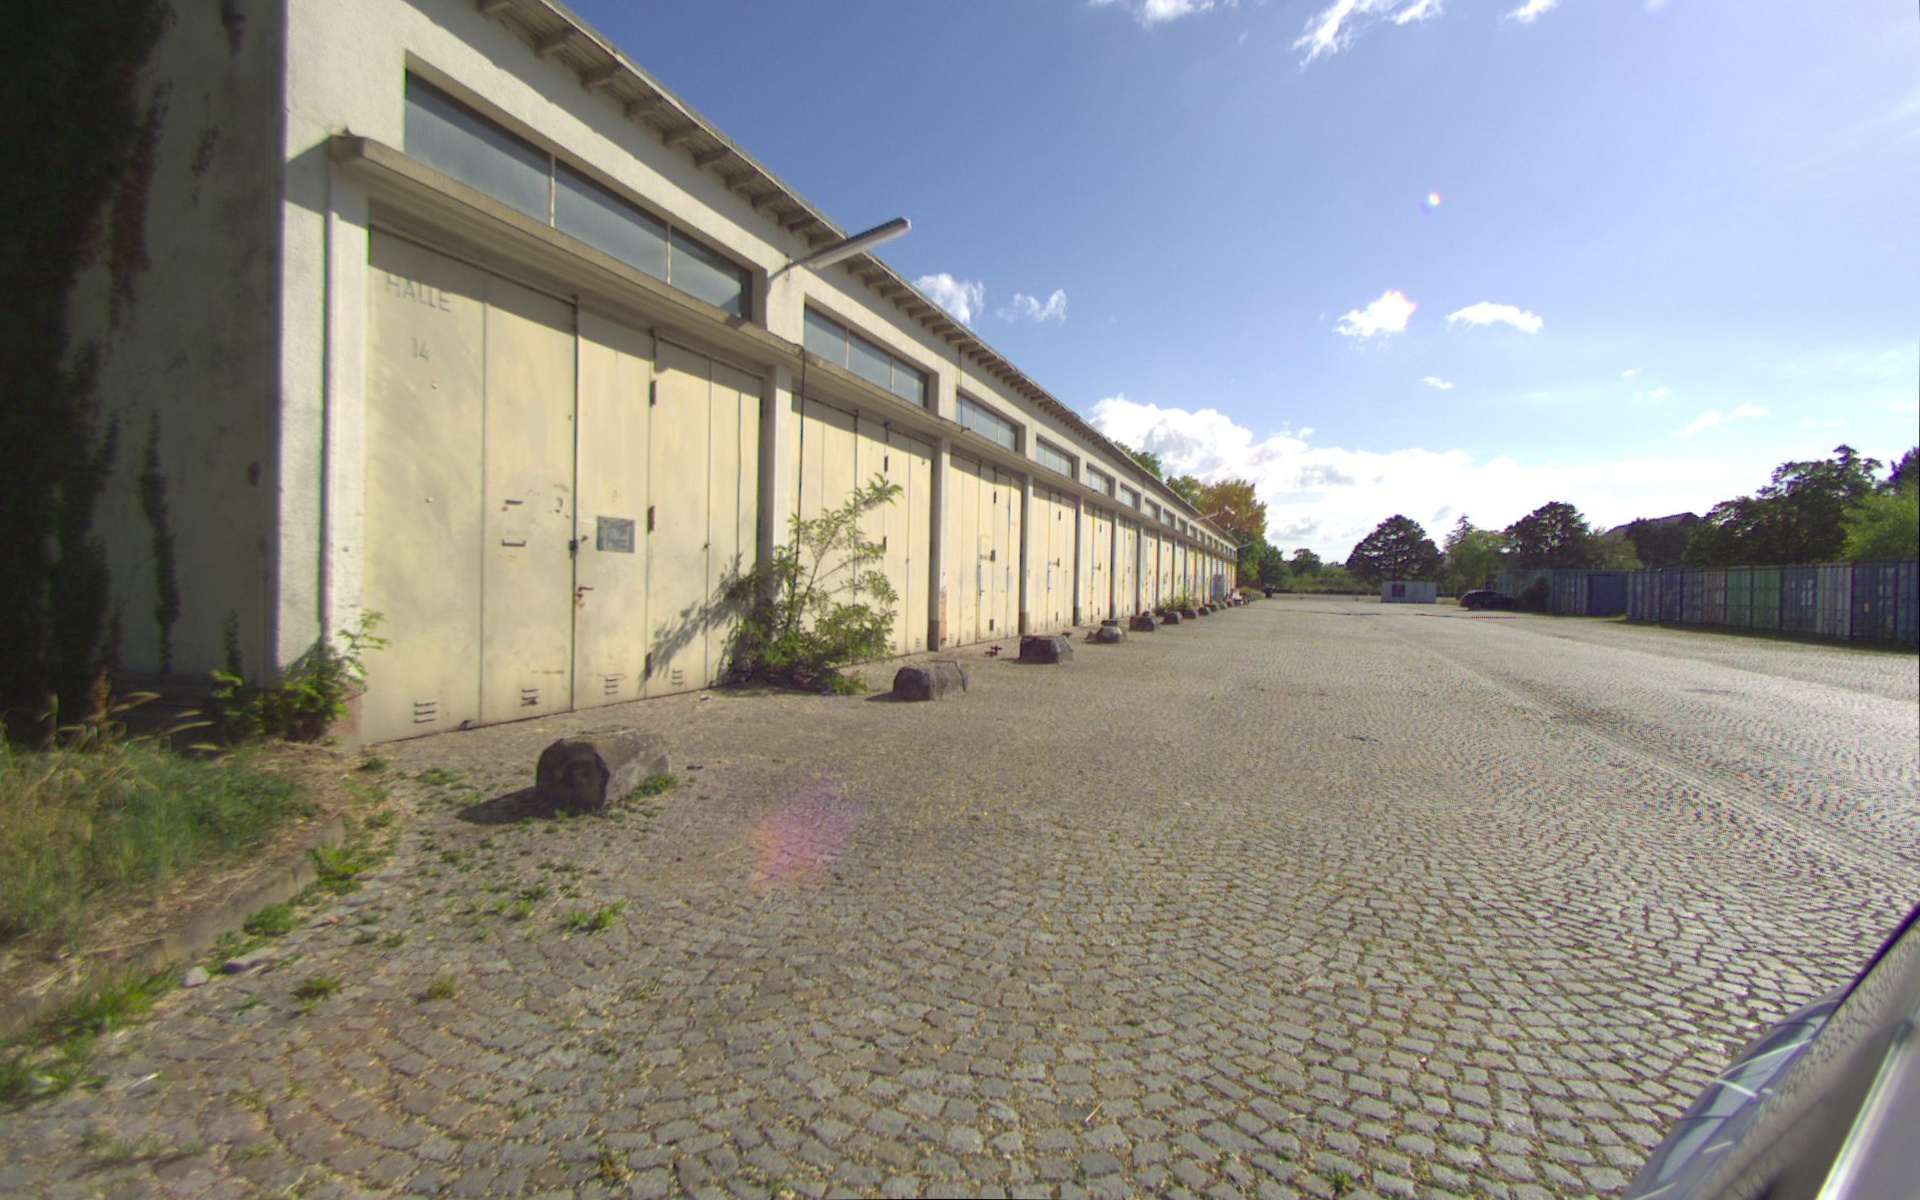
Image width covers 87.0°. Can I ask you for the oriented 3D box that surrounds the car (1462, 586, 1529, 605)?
[{"bbox_3d":[39.831,-0.358,75.418,4.059,1.313,1.989,-1,1,17],"label":"car"}]
